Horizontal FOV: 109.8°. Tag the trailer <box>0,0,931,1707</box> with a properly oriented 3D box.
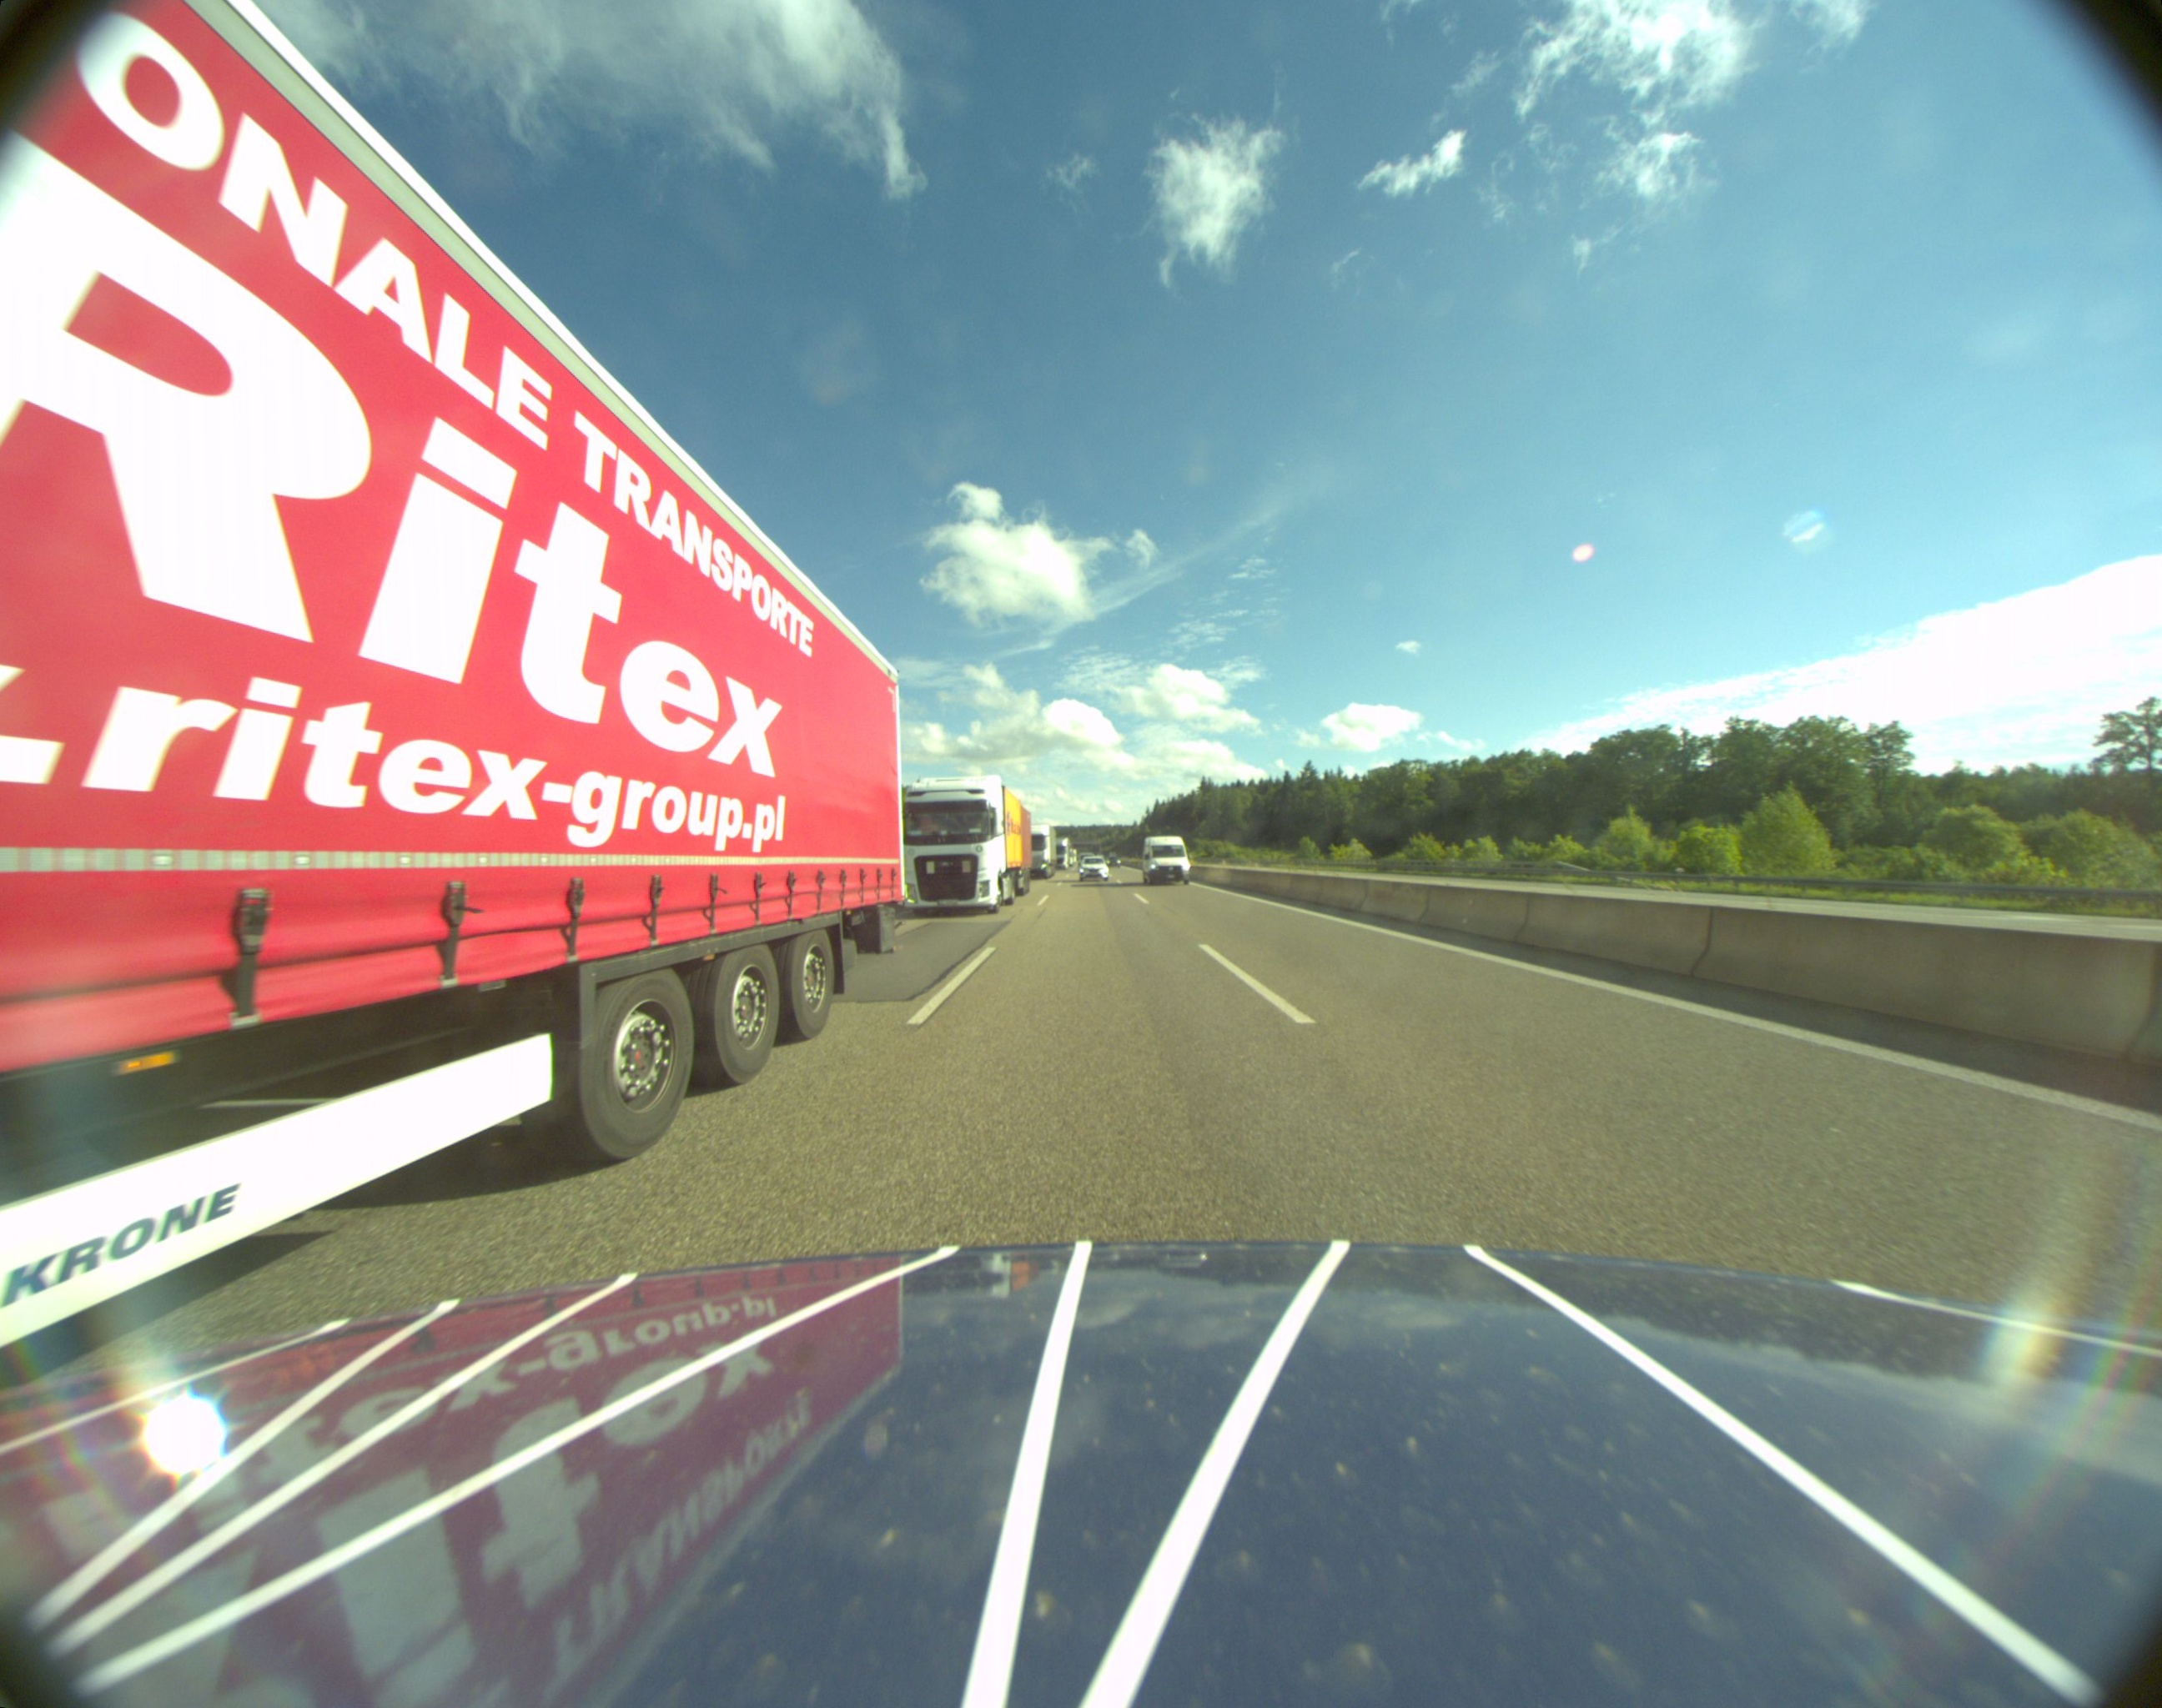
[{"bbox_3d":[-3.225,-0.259,2.694,2.334,3.974,14.297,-2,1,0],"label":"trailer"}]

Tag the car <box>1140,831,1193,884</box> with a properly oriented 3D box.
[{"bbox_3d":[4.505,0.143,41.116,2.020,2.584,6.180,-2,1,-1],"label":"car"}]

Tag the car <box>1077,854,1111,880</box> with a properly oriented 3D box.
[{"bbox_3d":[0.871,0.779,48.509,2.026,1.511,5.299,1,0,2],"label":"car"}]

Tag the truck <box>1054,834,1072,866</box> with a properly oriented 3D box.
[{"bbox_3d":[-2.273,-0.513,98.909,1.998,3.999,7.344,-2,1,0],"label":"truck"}]

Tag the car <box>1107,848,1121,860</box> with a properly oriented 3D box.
[{"bbox_3d":[4.543,-0.019,104.521,1.778,1.533,4.158,1,1,1],"label":"car"}]

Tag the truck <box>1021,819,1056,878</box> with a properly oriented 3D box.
[{"bbox_3d":[-3.043,-0.388,55.783,1.998,4.025,5.869,-2,1,1],"label":"truck"}]

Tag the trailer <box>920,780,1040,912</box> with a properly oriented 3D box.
[{"bbox_3d":[-3.454,-0.288,30.033,2.624,3.977,13.365,-2,0,1],"label":"trailer"}]

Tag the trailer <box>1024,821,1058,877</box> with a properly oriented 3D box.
[{"bbox_3d":[-2.994,-0.387,59.010,1.998,3.999,7.344,-2,1,1],"label":"trailer"}]

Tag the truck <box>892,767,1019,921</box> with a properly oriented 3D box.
[{"bbox_3d":[-3.557,-0.262,23.039,2.634,3.959,5.956,-2,0,1],"label":"truck"}]

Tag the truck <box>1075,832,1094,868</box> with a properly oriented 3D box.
[{"bbox_3d":[0.448,-0.508,88.760,1.998,3.999,7.344,-2,1,0],"label":"truck"}]

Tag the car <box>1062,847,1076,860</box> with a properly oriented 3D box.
[{"bbox_3d":[-2.075,-0.069,129.122,2.129,2.030,4.697,1,0,2],"label":"car"}]
